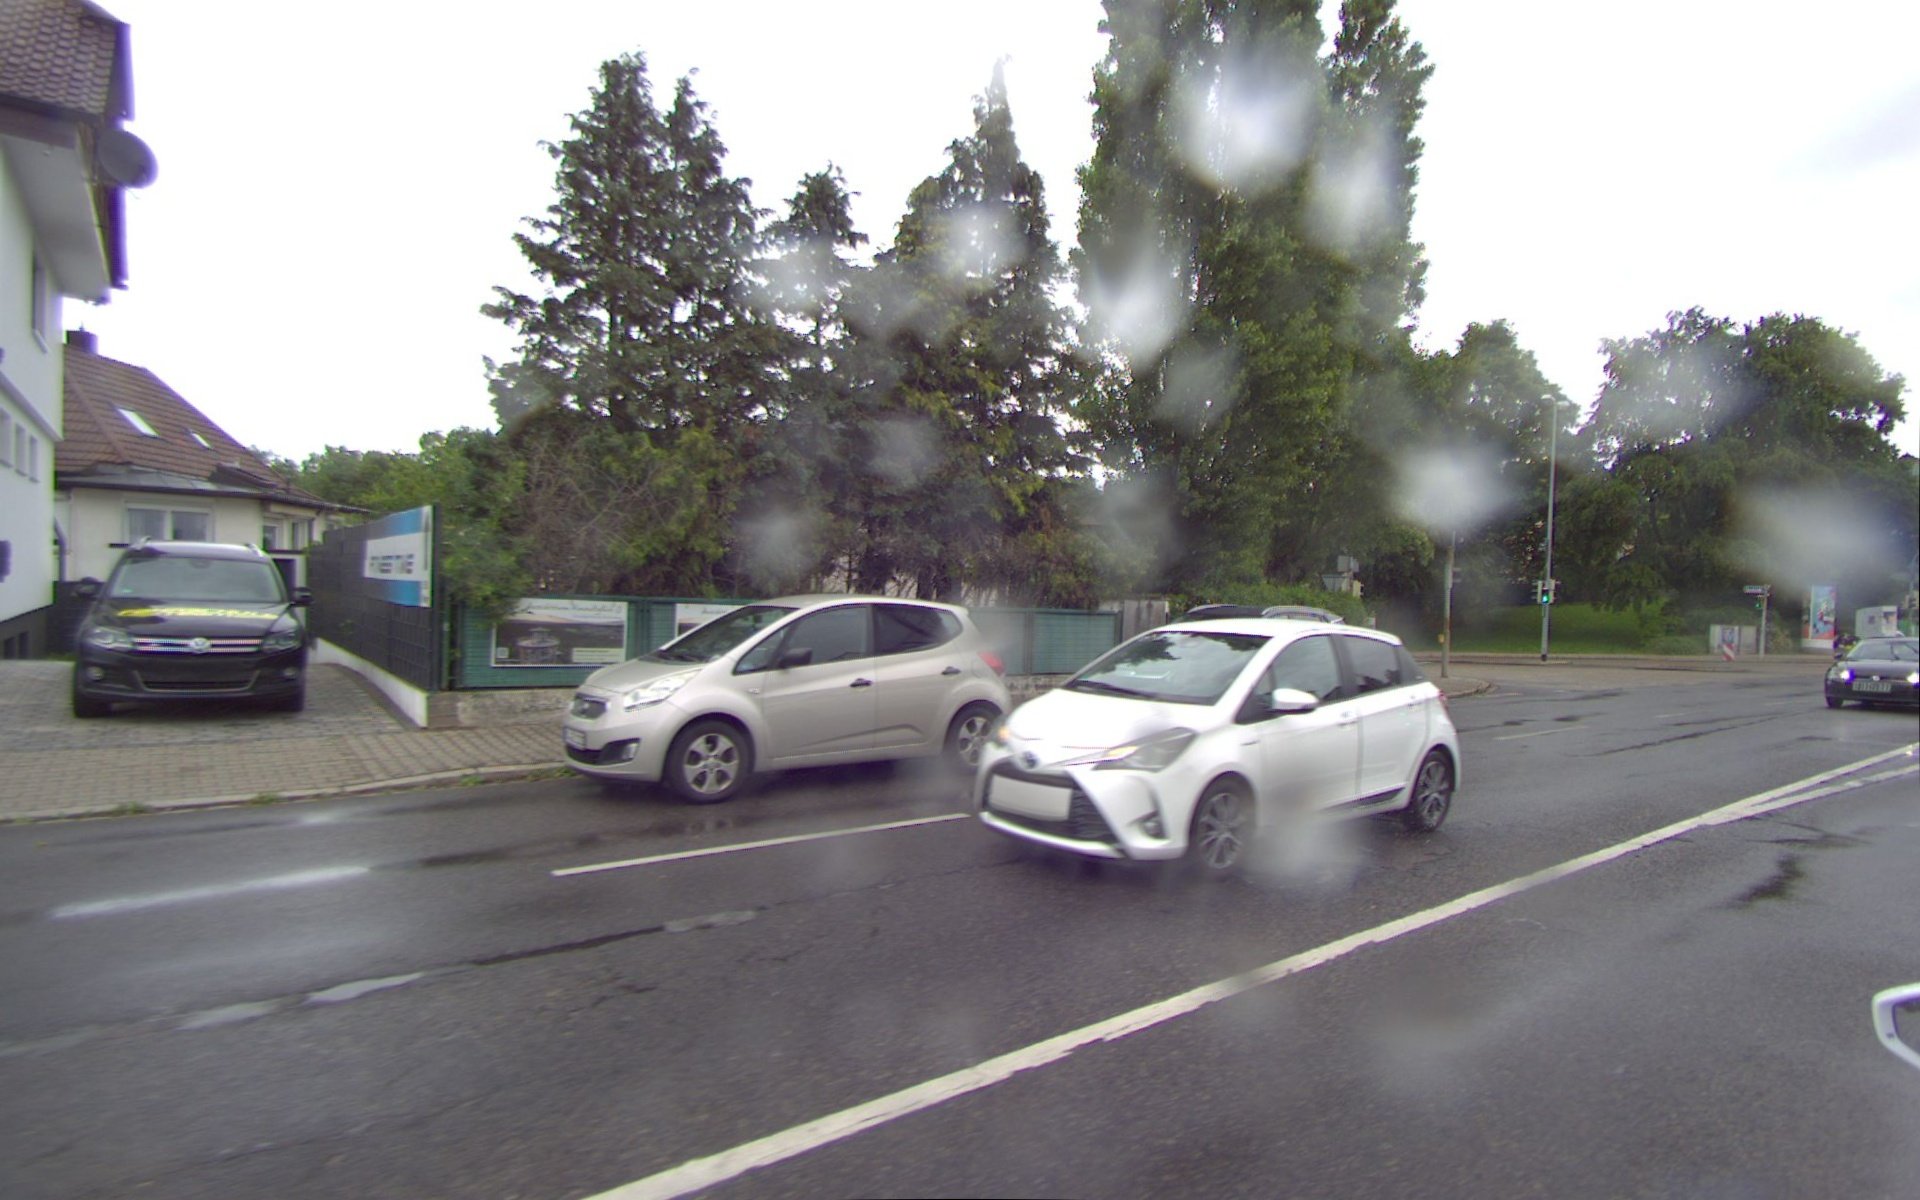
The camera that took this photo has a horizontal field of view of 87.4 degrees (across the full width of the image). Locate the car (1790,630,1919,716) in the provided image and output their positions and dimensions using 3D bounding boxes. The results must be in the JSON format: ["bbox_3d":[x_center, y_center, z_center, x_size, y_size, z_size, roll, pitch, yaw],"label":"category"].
[{"bbox_3d":[18.441,1.425,20.228,3.961,1.522,1.700,2,-1,-36],"label":"car"}]

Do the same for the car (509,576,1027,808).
[{"bbox_3d":[-1.552,0.706,8.854,4.106,1.589,1.791,3,-1,-38],"label":"car"}]

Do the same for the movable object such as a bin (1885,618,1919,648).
[{"bbox_3d":[50.776,1.768,53.373,1.326,1.535,2.051,-1,0,-26],"label":"movable object such as a bin"}]

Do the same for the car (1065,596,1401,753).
[{"bbox_3d":[3.643,0.890,12.972,4.557,1.691,1.791,3,-1,-38],"label":"car"}]

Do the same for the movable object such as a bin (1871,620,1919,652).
[{"bbox_3d":[49.472,1.858,52.727,1.560,1.590,2.051,-1,0,-26],"label":"movable object such as a bin"}]

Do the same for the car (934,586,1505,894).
[{"bbox_3d":[1.953,0.764,7.009,3.964,1.550,1.819,2,-1,-38],"label":"car"}]

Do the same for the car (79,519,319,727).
[{"bbox_3d":[-8.173,0.096,10.942,1.723,1.743,4.150,2,4,-36],"label":"car"}]

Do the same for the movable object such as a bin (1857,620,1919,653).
[{"bbox_3d":[48.073,1.855,51.997,1.560,1.590,2.051,-1,0,-26],"label":"movable object such as a bin"}]
